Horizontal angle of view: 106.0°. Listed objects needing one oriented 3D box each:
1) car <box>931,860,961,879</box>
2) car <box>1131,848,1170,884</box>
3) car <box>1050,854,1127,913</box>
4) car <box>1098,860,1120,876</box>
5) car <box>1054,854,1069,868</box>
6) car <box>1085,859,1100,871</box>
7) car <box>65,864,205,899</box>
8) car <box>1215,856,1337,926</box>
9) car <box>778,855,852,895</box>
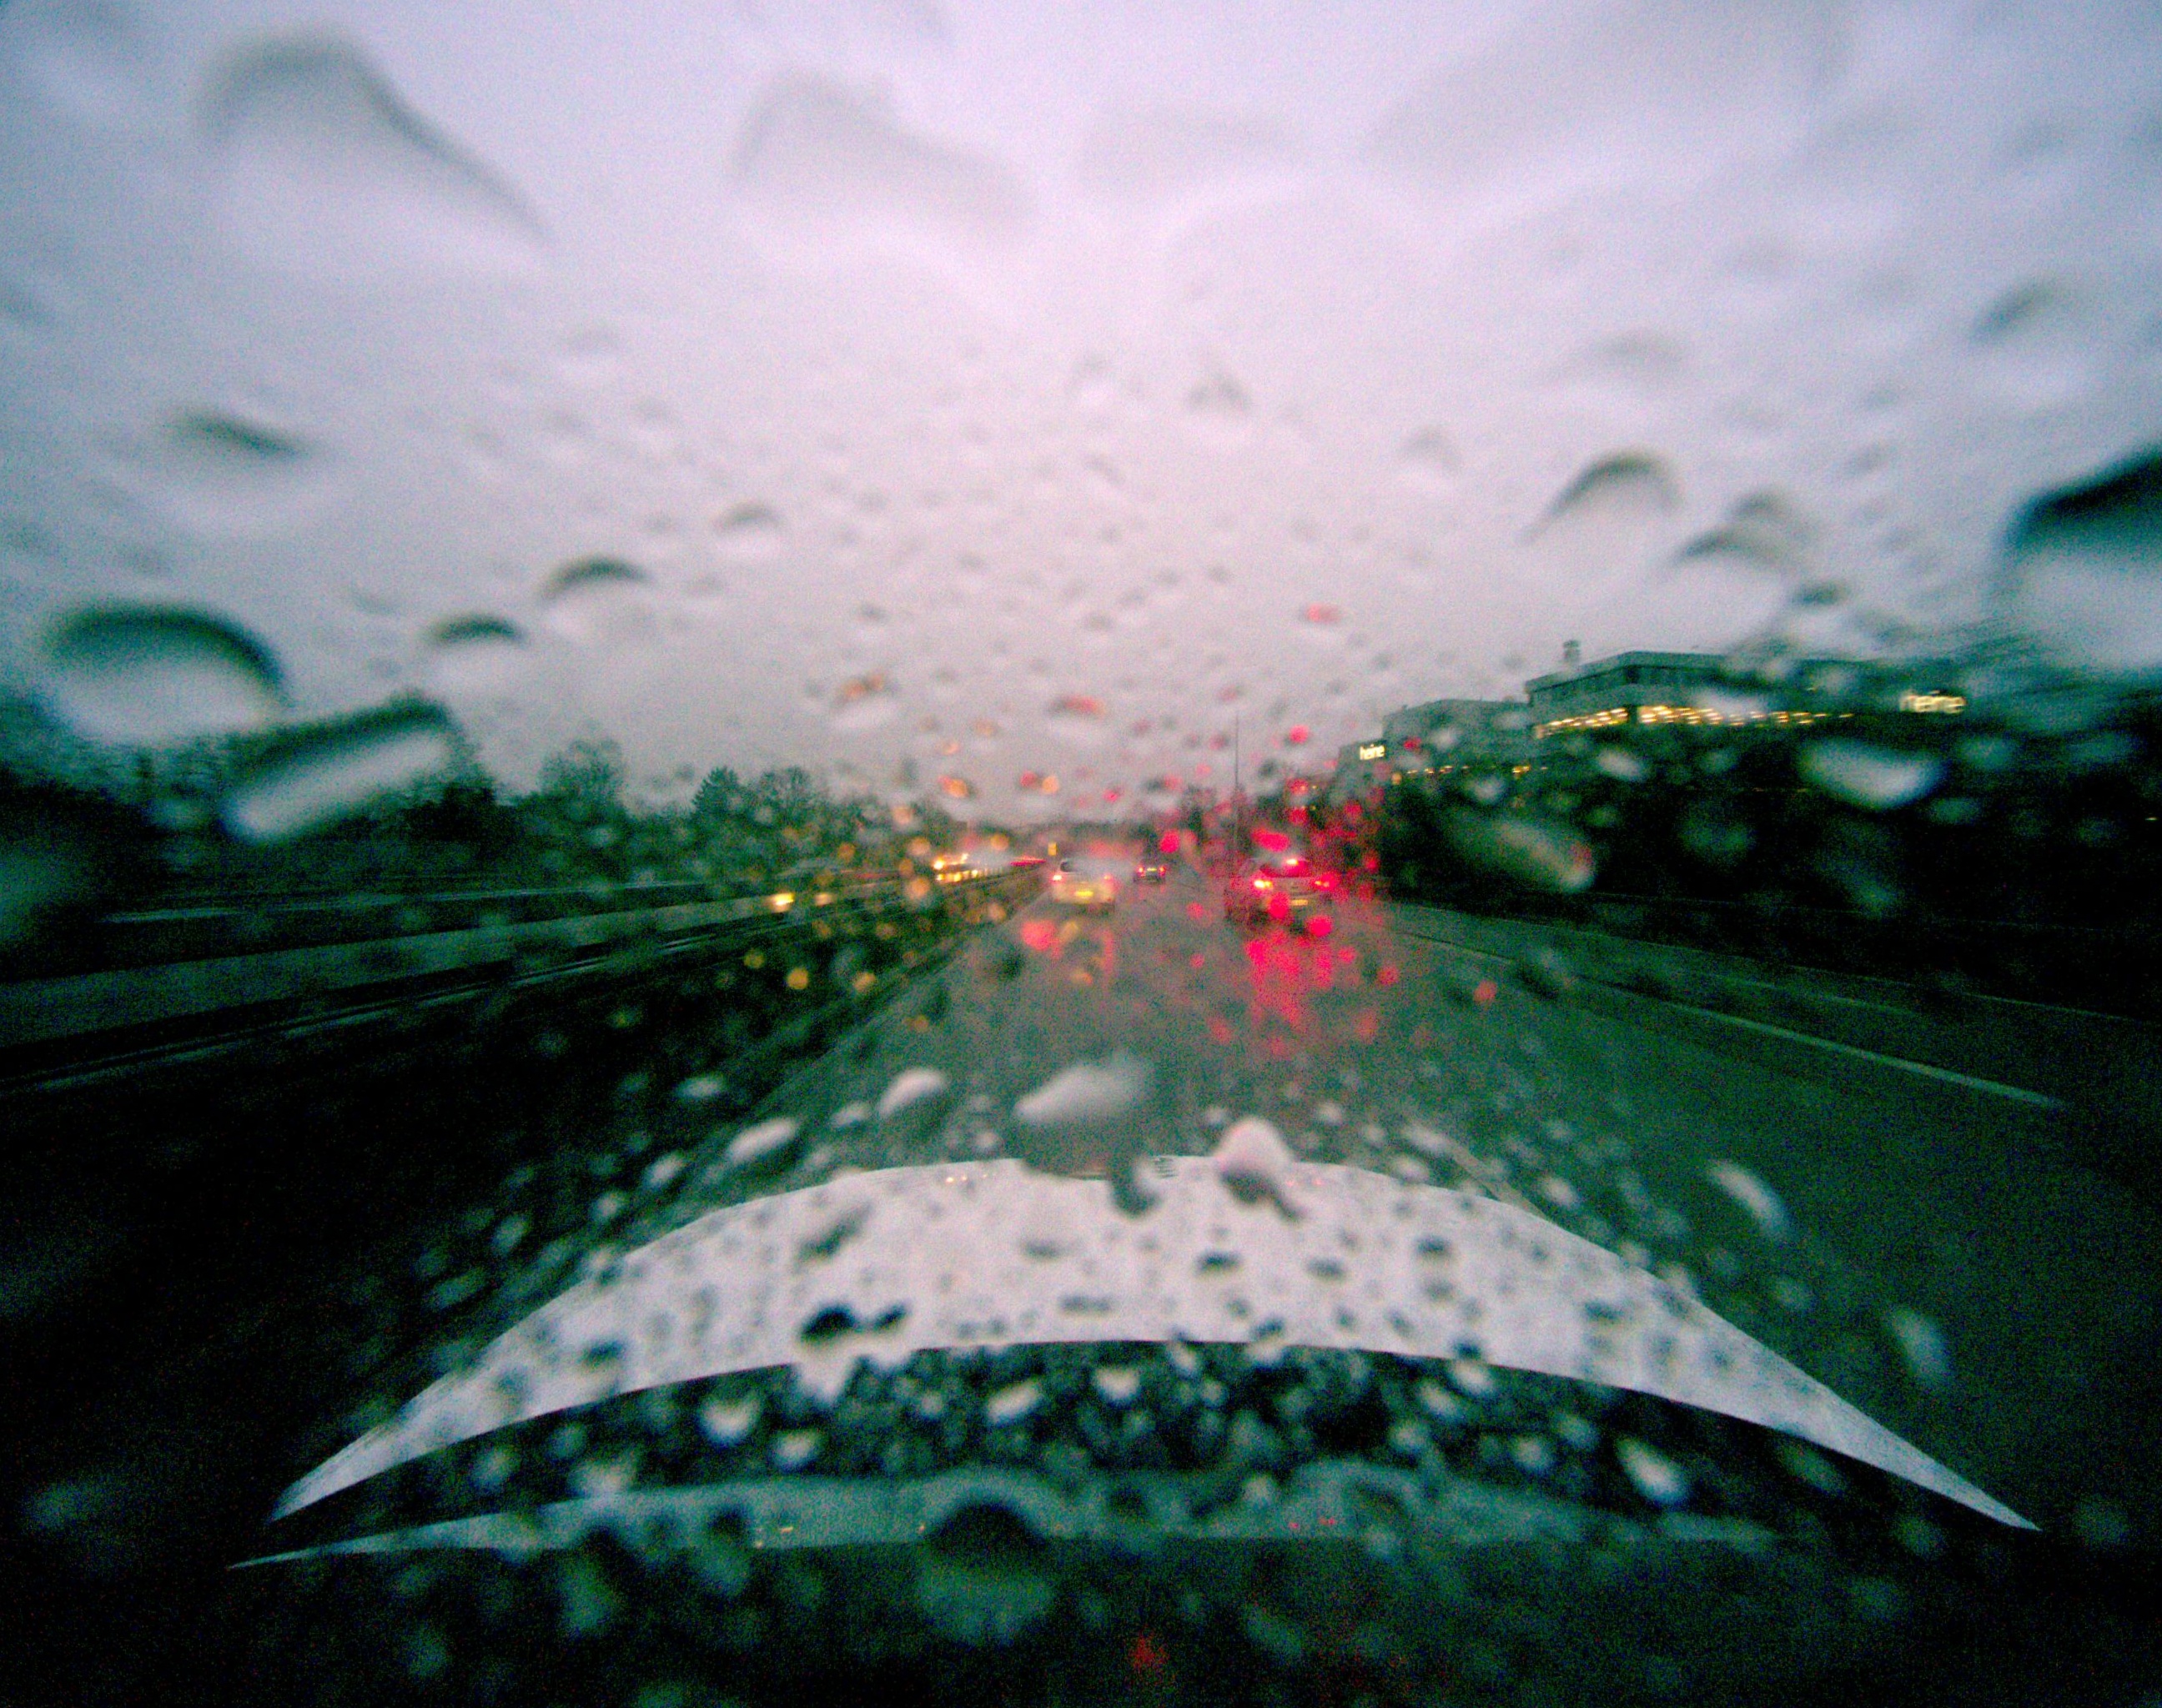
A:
[{"bbox_3d":[-11.802,1.324,71.402,1.860,1.627,4.778,0,0,0],"label":"car"},{"bbox_3d":[3.993,0.704,47.445,1.926,2.019,3.772,0,-1,-1],"label":"car"},{"bbox_3d":[0.129,0.801,23.712,2.020,1.575,3.996,0,0,-3],"label":"car"},{"bbox_3d":[2.935,1.485,87.143,1.928,1.546,3.769,-6,-1,-3],"label":"car"},{"bbox_3d":[-2.765,1.030,118.784,1.986,2.014,4.001,0,-1,1],"label":"car"},{"bbox_3d":[1.526,1.514,110.588,1.927,1.546,3.771,0,0,-2],"label":"car"},{"bbox_3d":[-42.447,1.226,36.614,3.976,1.519,1.891,0,0,-2],"label":"car"},{"bbox_3d":[4.515,0.803,19.496,1.844,1.501,4.260,0,0,-1],"label":"car"},{"bbox_3d":[-11.242,0.866,34.658,1.721,1.607,4.179,0,0,1],"label":"car"}]
